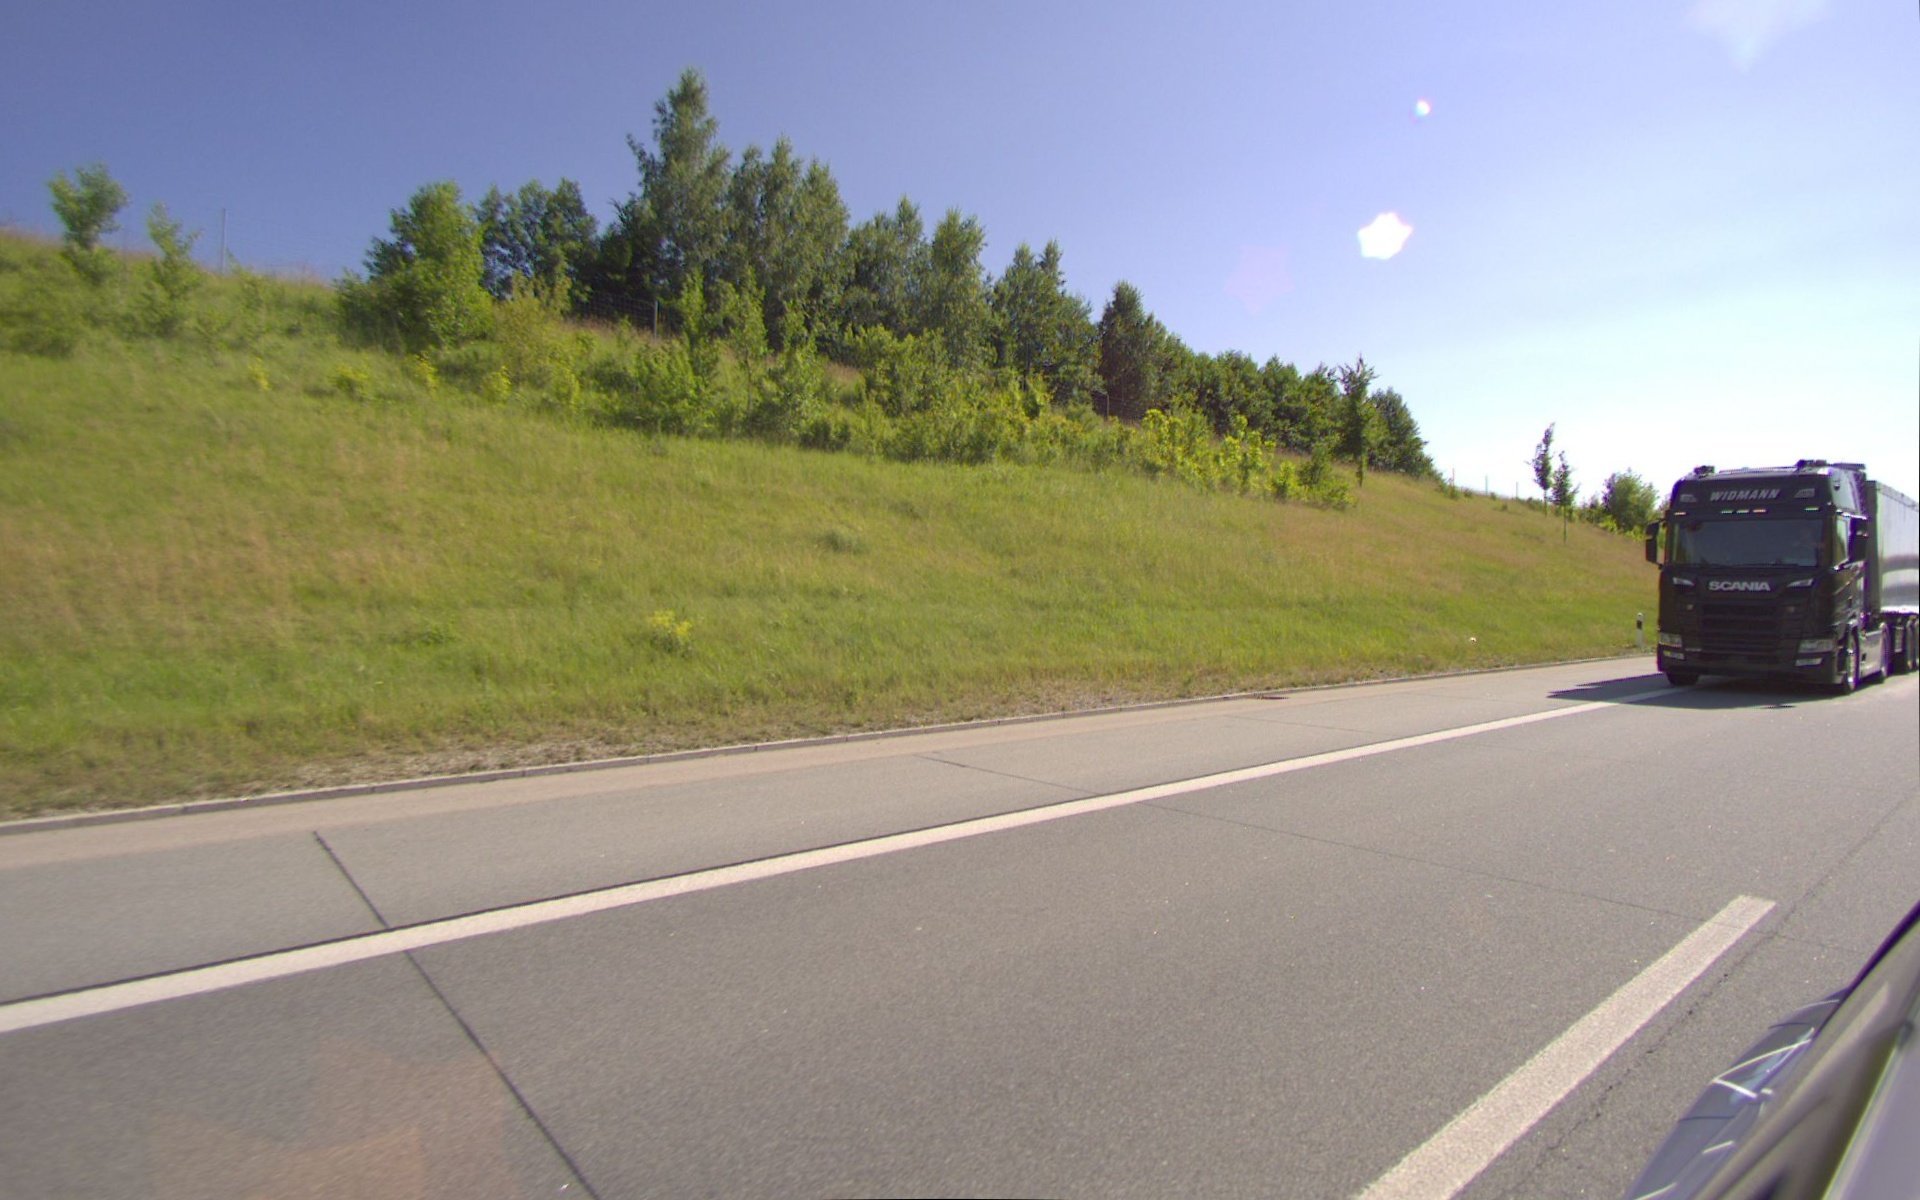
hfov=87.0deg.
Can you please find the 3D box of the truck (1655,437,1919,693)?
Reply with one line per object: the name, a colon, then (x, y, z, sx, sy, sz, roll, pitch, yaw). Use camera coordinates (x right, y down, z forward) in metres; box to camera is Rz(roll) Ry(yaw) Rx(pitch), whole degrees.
truck: (17.690, -0.608, 20.617, 13.169, 3.865, 2.621, -1, 1, -41)
